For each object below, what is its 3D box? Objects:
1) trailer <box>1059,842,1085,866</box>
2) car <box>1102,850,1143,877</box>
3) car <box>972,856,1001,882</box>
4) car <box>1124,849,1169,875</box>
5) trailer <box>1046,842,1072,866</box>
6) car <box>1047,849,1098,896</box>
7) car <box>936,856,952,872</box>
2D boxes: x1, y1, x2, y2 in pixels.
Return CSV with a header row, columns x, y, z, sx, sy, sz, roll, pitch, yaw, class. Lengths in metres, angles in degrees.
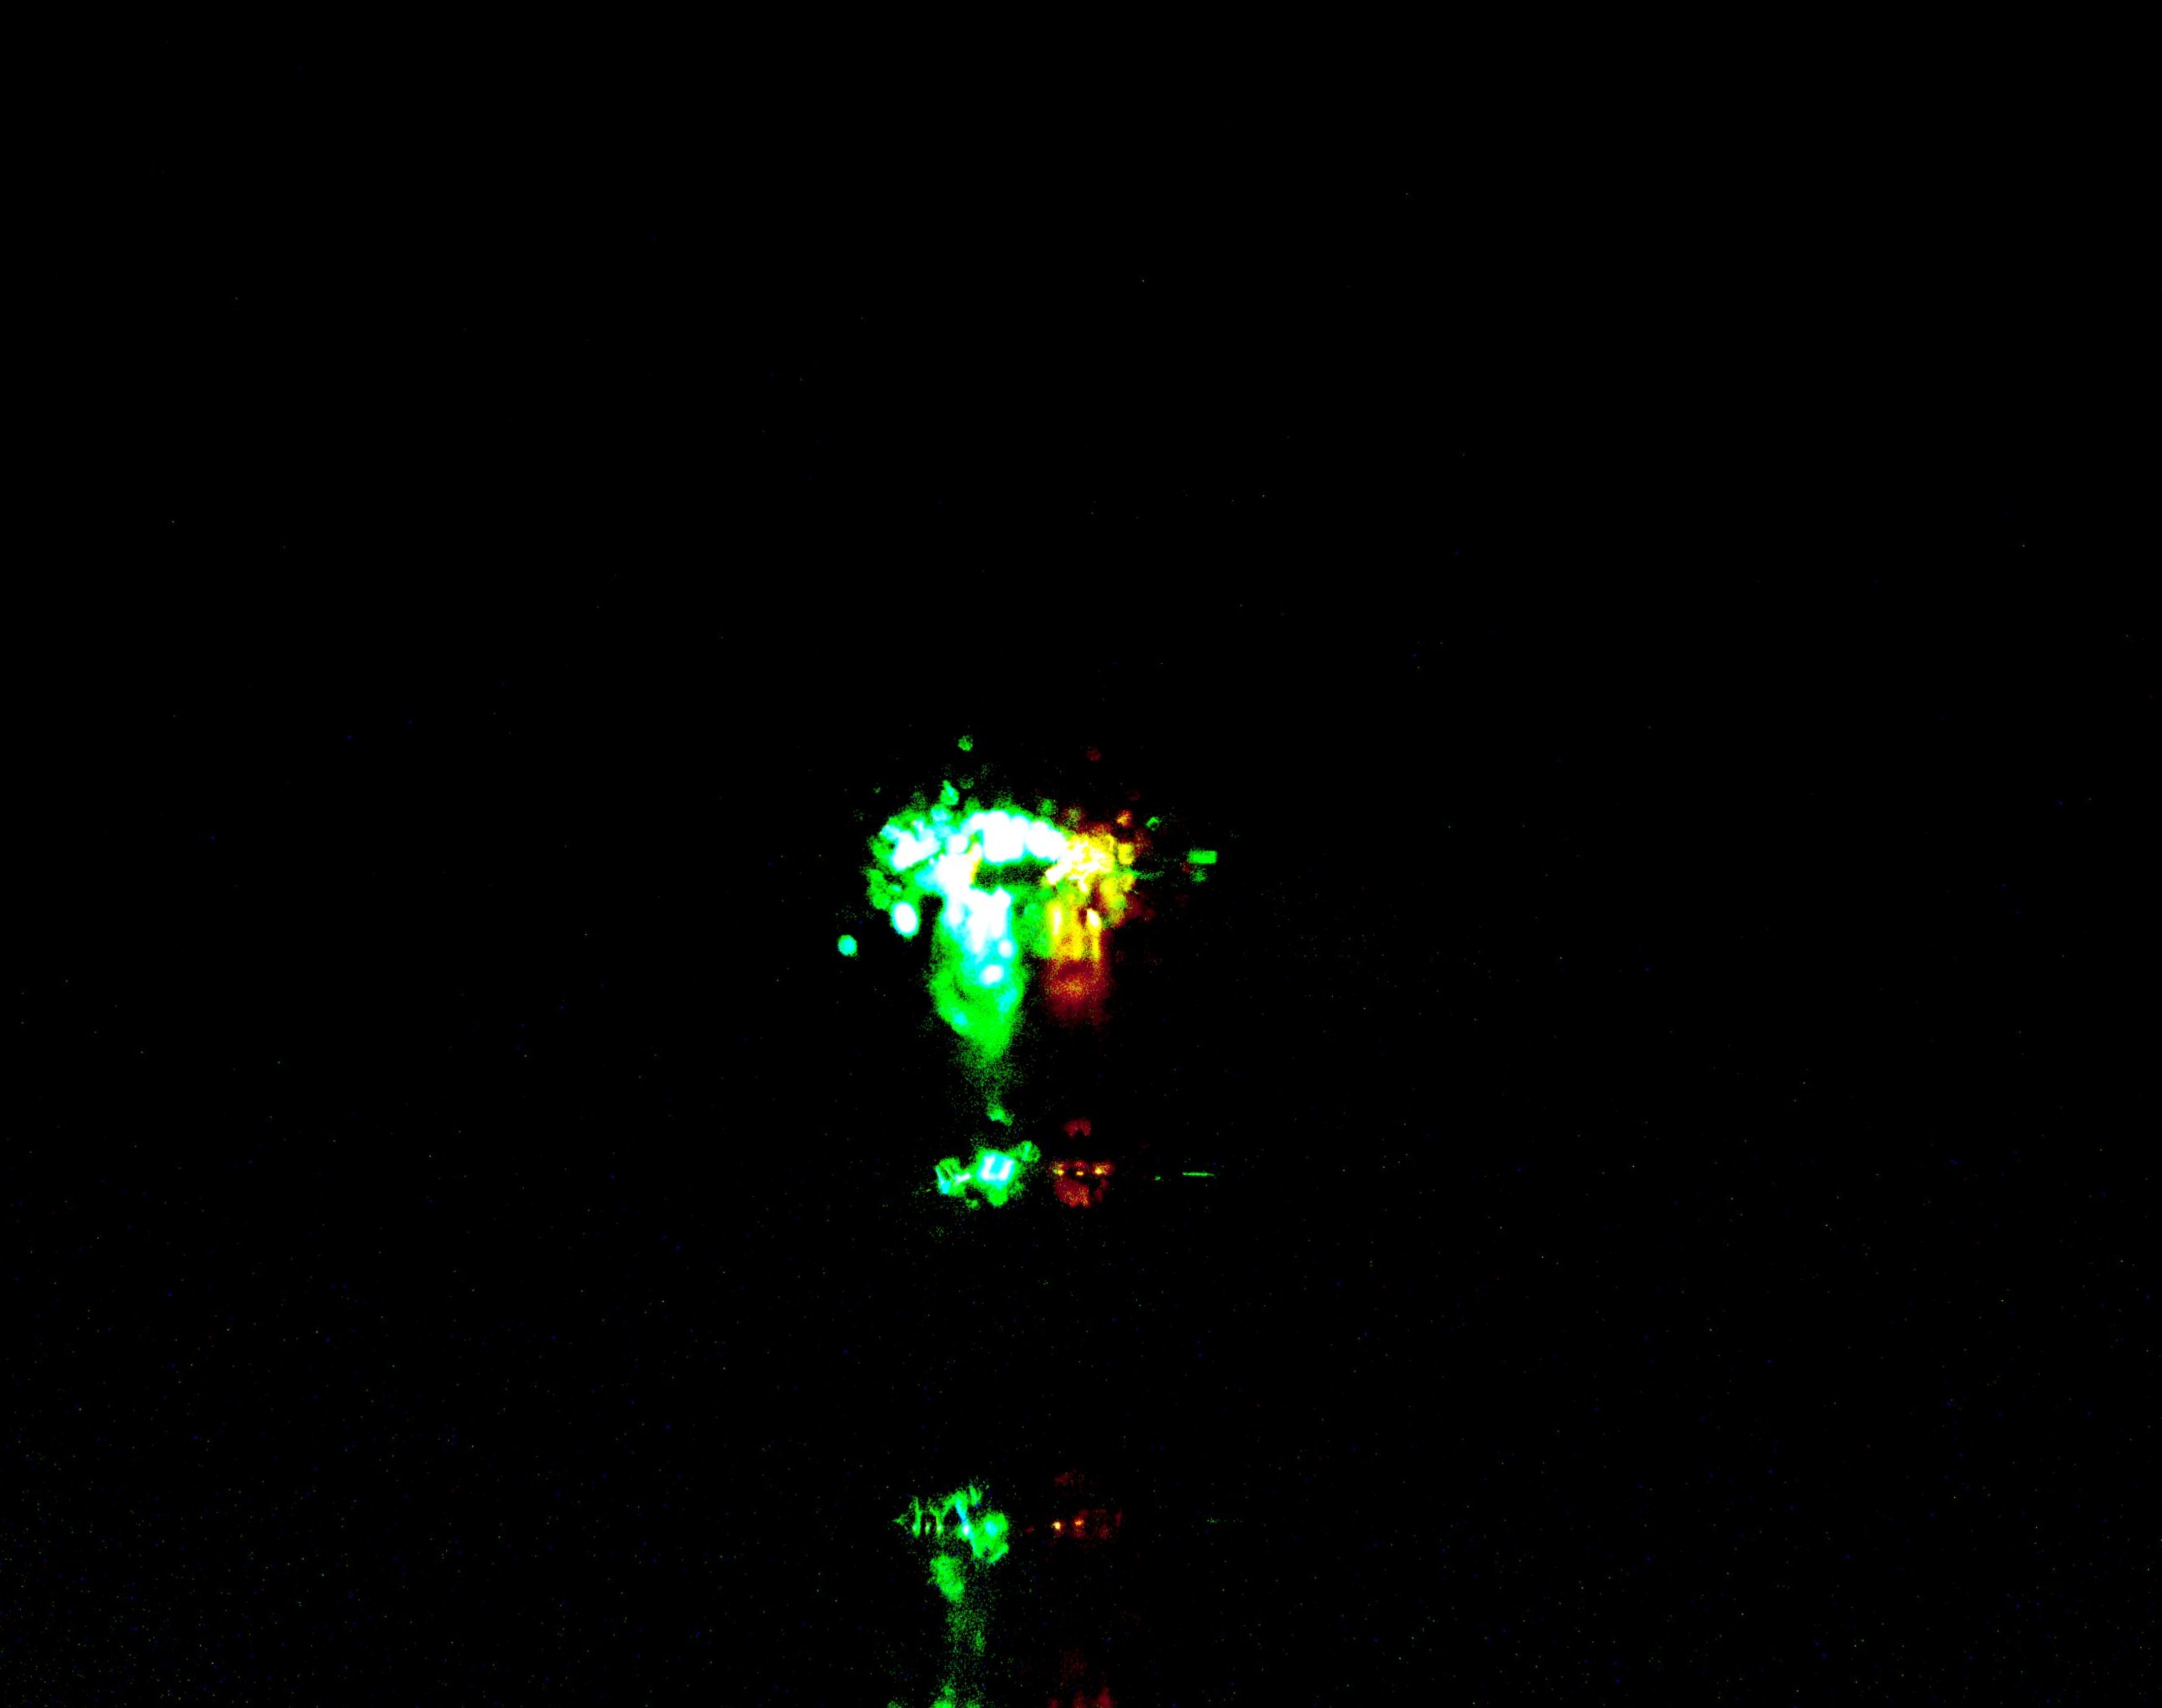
x,y,z,sx,sy,sz,roll,pitch,yaw,class
-0.905,0.008,81.111,1.607,2.352,4.411,2,-1,-13,trailer
3.224,0.730,64.828,1.883,2.040,4.365,0,-1,-17,car
-6.801,1.071,58.253,1.975,1.778,3.990,0,0,-7,car
4.752,0.569,59.846,1.882,1.809,4.131,0,-1,-17,car
-2.372,0.019,85.799,1.633,2.365,4.629,2,-1,-15,trailer
-0.313,0.651,30.614,1.796,1.628,3.614,0,0,-1,car
-18.447,1.347,109.549,1.919,2.057,4.868,0,0,-11,car
